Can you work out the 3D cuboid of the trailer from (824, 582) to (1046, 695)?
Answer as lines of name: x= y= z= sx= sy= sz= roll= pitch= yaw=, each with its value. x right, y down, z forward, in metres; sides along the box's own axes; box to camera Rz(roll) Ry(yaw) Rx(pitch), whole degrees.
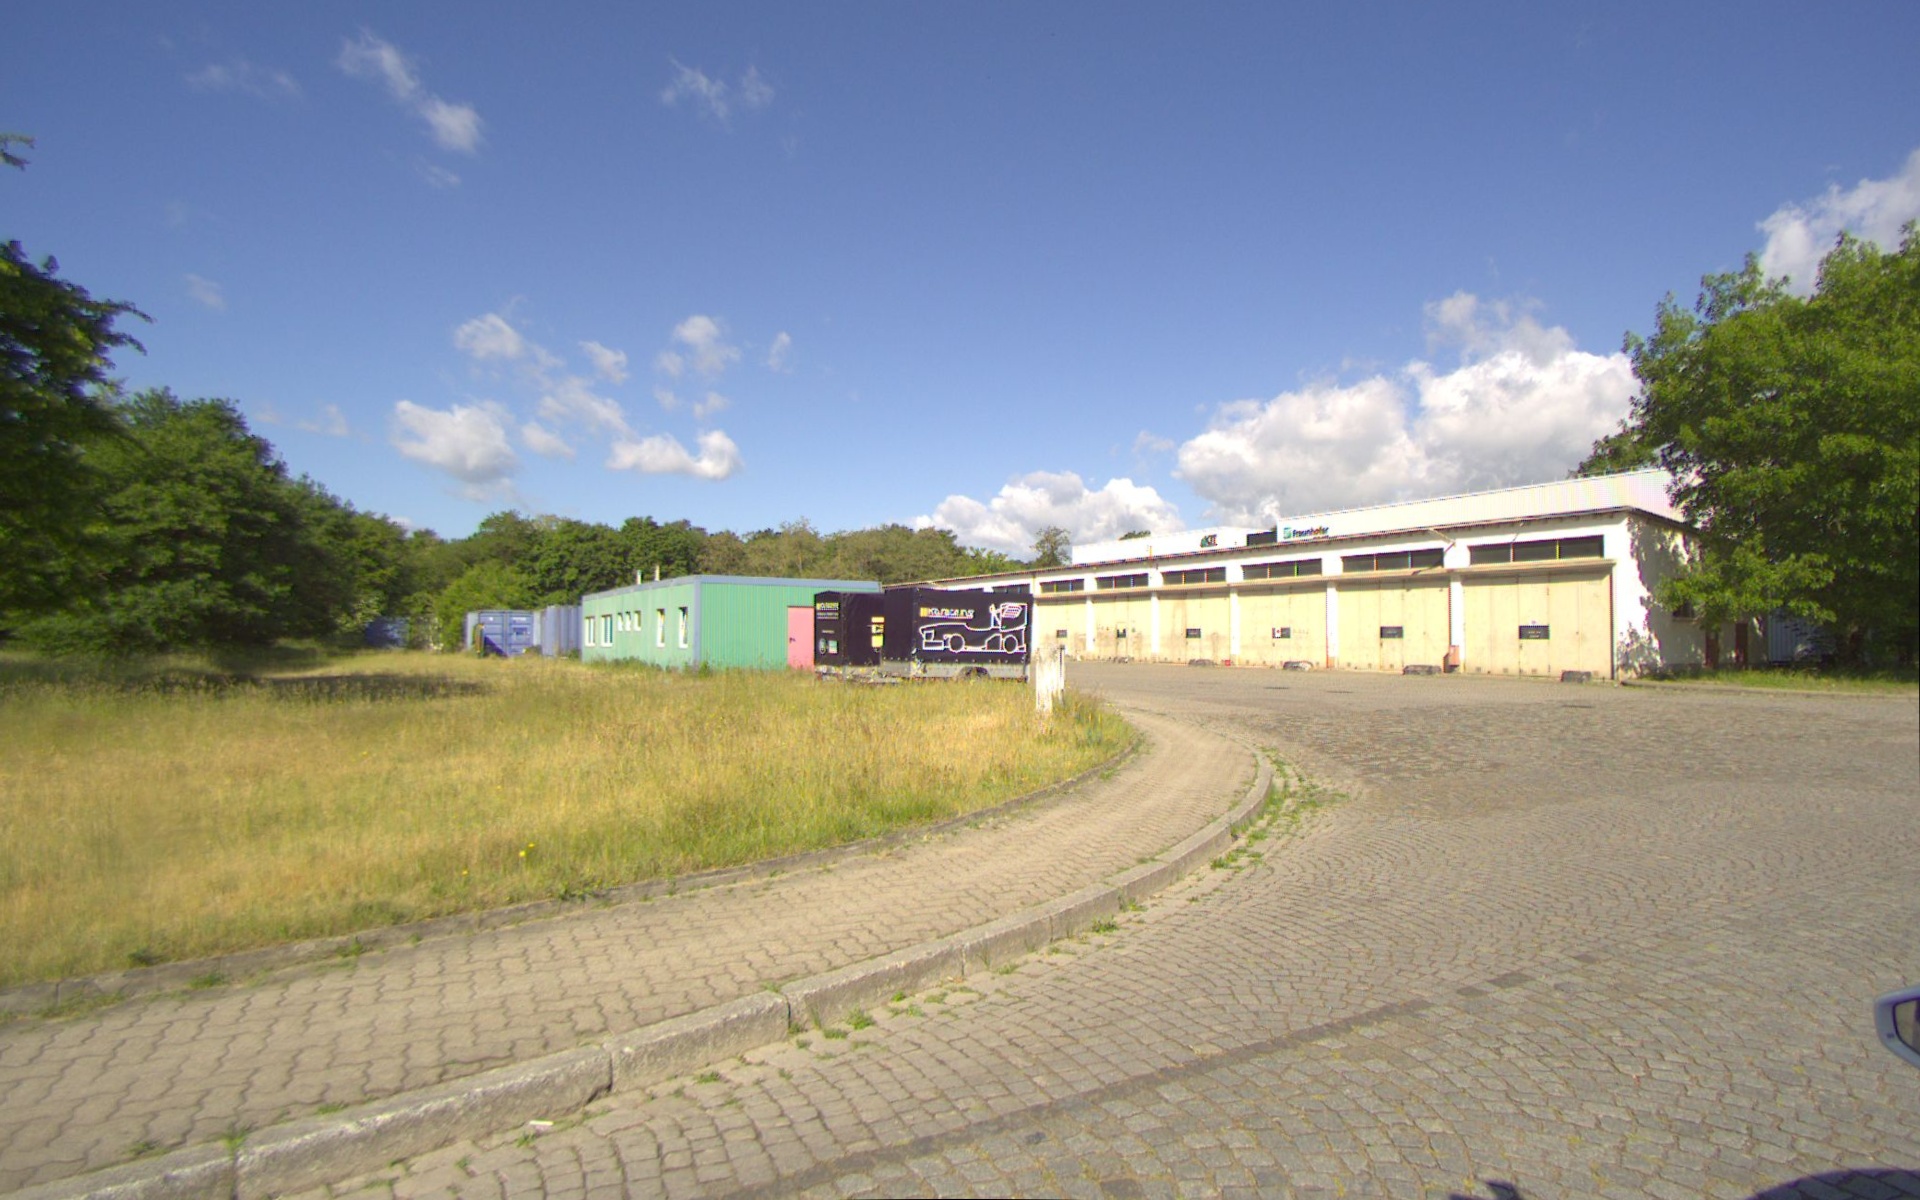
trailer: x=-0.545 y=0.883 z=22.748 sx=4.612 sy=2.328 sz=2.122 roll=1 pitch=-2 yaw=-28

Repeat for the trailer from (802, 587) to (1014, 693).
trailer: x=-1.239 y=0.994 z=24.981 sx=4.922 sy=2.385 sz=2.077 roll=2 pitch=-2 yaw=-33
